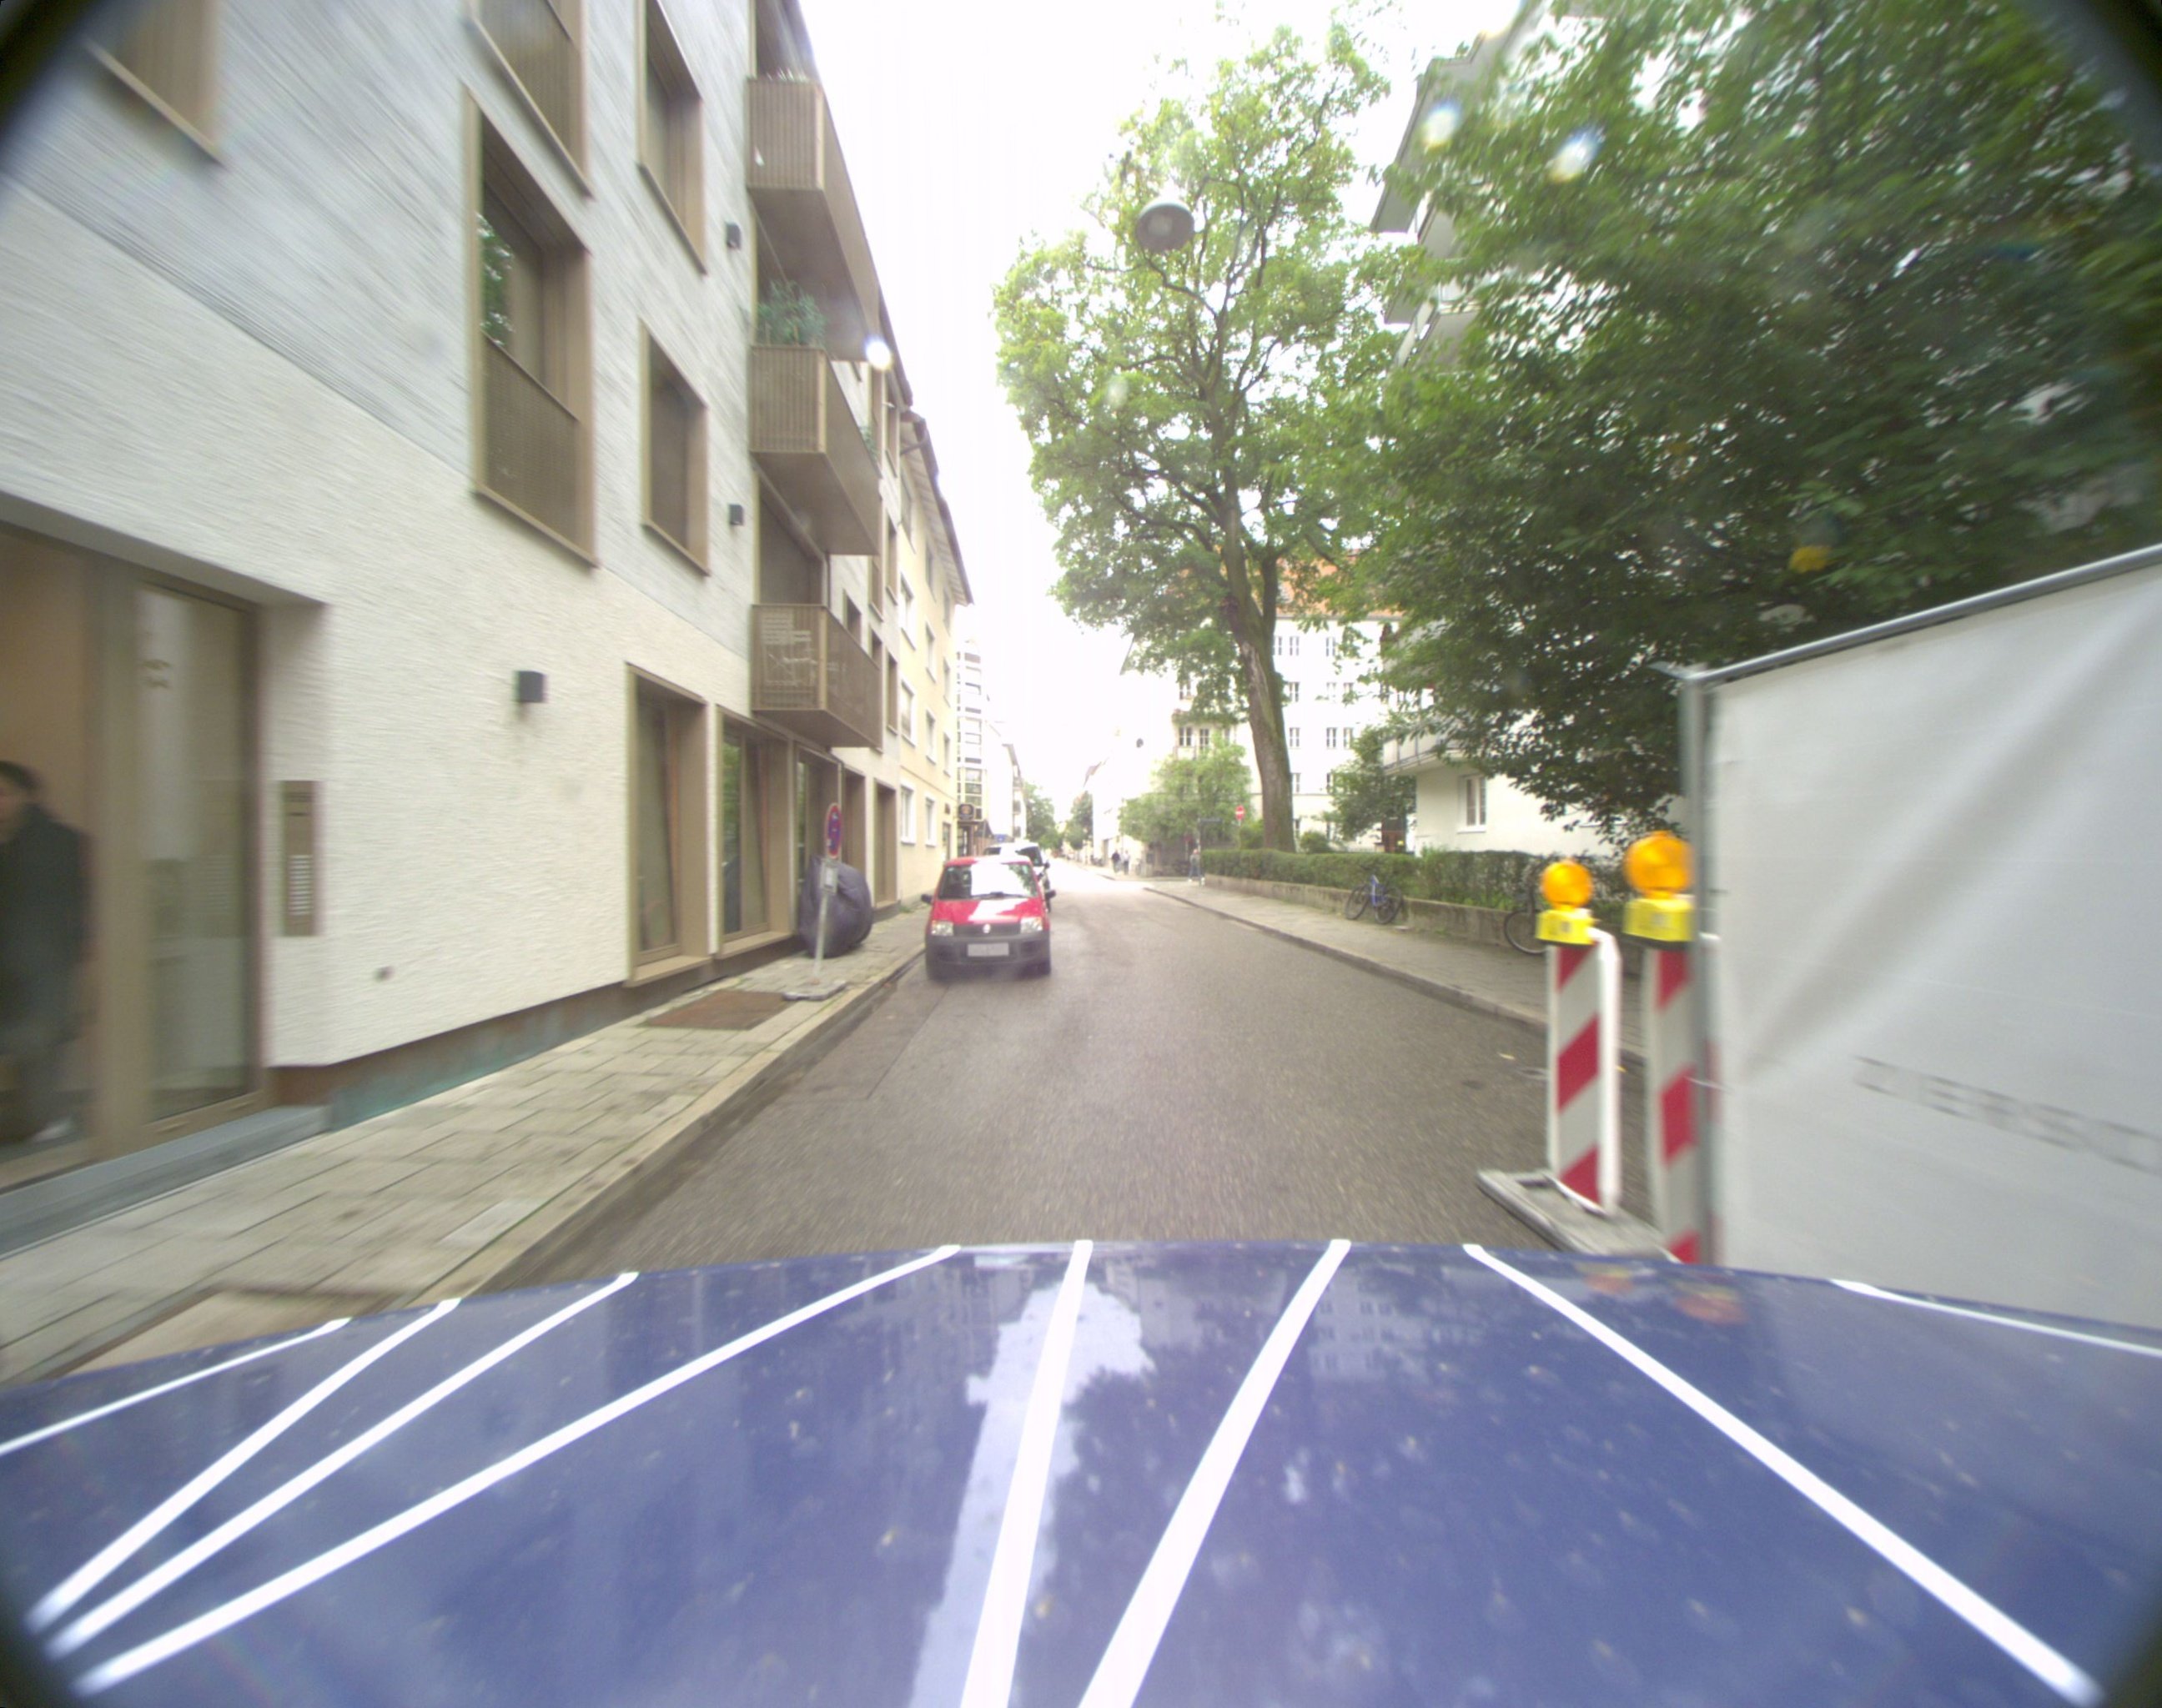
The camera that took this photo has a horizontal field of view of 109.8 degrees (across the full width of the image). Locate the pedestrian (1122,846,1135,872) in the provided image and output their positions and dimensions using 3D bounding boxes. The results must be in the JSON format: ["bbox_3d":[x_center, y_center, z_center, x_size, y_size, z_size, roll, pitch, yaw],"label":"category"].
[{"bbox_3d":[3.196,0.319,51.575,0.695,1.718,0.841,-4,1,-2],"label":"pedestrian"}]

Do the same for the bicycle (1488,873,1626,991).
[{"bbox_3d":[5.515,0.854,8.924,0.490,1.145,1.698,-3,1,-1],"label":"bicycle"}]

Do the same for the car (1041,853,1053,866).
[{"bbox_3d":[-3.705,0.576,83.274,1.190,1.312,2.779,-1,0,-2],"label":"car"}]

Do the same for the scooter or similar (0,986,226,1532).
[{"bbox_3d":[-2.994,0.976,1.545,0.493,1.176,1.612,3,0,38],"label":"scooter or similar"}]

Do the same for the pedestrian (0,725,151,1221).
[{"bbox_3d":[-4.541,0.477,3.117,0.435,2.002,0.794,3,1,25],"label":"pedestrian"}]

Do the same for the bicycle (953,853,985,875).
[{"bbox_3d":[-6.639,0.576,44.898,1.872,1.222,0.594,1,2,27],"label":"bicycle"}]

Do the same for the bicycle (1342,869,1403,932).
[{"bbox_3d":[5.478,0.838,14.383,0.347,1.065,1.779,-4,1,-2],"label":"bicycle"}]

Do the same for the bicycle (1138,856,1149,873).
[{"bbox_3d":[3.969,0.656,48.349,0.432,1.089,1.702,-2,1,-4],"label":"bicycle"}]

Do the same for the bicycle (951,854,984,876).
[{"bbox_3d":[-6.400,0.614,42.798,1.752,1.180,0.443,2,1,3],"label":"bicycle"}]

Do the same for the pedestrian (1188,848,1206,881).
[{"bbox_3d":[5.990,0.524,39.378,0.691,1.668,0.859,-3,1,-4],"label":"pedestrian"}]

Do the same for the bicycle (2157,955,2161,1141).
[{"bbox_3d":[5.830,1.015,3.043,0.445,0.973,1.815,-3,1,-1],"label":"bicycle"}]

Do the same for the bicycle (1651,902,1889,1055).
[{"bbox_3d":[5.737,0.977,6.468,0.437,0.973,1.698,-3,1,-1],"label":"bicycle"}]

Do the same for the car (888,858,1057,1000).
[{"bbox_3d":[-1.296,0.862,10.685,1.776,1.515,4.066,-2,0,0],"label":"car"}]

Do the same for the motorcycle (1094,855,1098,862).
[{"bbox_3d":[1.854,0.559,95.577,0.324,0.968,1.960,-1,0,-2],"label":"motorcycle"}]

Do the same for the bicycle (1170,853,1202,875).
[{"bbox_3d":[6.147,0.570,44.524,1.812,1.253,0.432,0,1,-4],"label":"bicycle"}]

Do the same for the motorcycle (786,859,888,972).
[{"bbox_3d":[-3.488,0.827,11.068,0.807,1.415,1.932,5,0,-2],"label":"motorcycle"}]

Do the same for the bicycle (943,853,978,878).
[{"bbox_3d":[-6.689,0.639,42.072,1.808,1.315,0.586,0,2,-28],"label":"bicycle"}]

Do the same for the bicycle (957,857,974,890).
[{"bbox_3d":[-4.674,0.778,30.786,0.411,1.207,1.818,2,2,-2],"label":"bicycle"}]

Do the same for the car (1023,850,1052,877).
[{"bbox_3d":[-2.820,0.557,48.801,1.725,1.606,4.453,-1,0,-4],"label":"car"}]

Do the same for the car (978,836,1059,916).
[{"bbox_3d":[-1.789,0.552,21.819,1.996,1.965,4.882,-2,0,-5],"label":"car"}]

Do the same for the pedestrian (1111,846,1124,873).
[{"bbox_3d":[2.461,0.371,51.570,0.722,1.718,0.841,-4,1,-2],"label":"pedestrian"}]

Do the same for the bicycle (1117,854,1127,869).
[{"bbox_3d":[3.391,0.587,62.593,0.450,1.187,1.498,-1,1,-12],"label":"bicycle"}]

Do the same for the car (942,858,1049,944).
[{"bbox_3d":[-1.654,0.868,16.085,1.773,1.453,4.379,-2,0,-1],"label":"car"}]

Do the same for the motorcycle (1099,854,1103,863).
[{"bbox_3d":[2.246,0.541,85.991,0.324,0.968,1.960,-1,0,-2],"label":"motorcycle"}]
